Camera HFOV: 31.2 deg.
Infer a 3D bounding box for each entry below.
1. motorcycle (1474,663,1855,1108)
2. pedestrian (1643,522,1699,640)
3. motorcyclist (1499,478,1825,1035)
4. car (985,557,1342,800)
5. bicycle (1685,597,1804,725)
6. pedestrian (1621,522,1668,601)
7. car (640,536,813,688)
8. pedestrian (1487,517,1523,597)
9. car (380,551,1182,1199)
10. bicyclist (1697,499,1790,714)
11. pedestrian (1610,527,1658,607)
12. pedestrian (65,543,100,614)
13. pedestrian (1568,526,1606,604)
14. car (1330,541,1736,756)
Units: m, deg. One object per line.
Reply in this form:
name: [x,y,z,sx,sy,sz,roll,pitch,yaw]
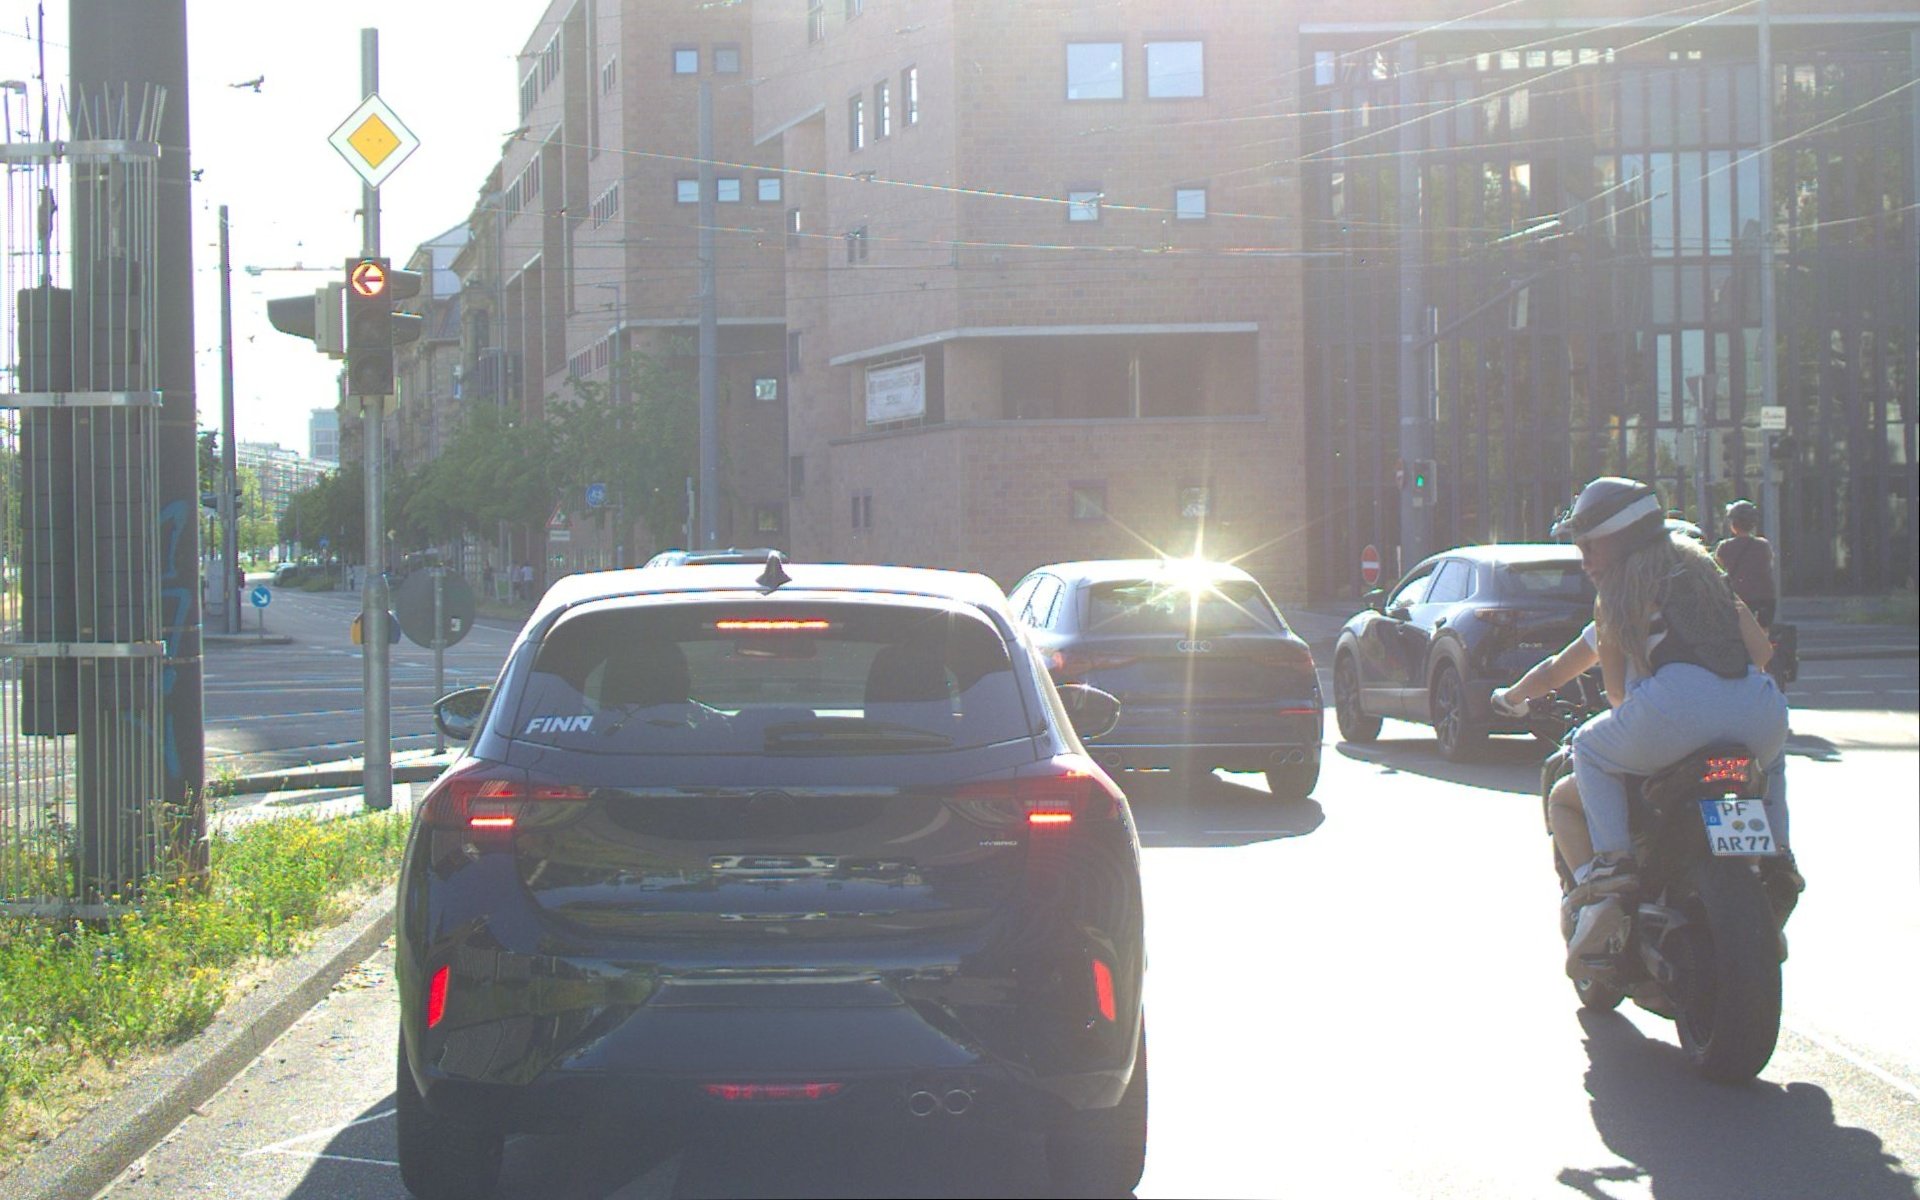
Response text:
motorcycle: [2.034,0.783,10.189,0.775,1.111,1.969,-1,1,2]
pedestrian: [10.686,-0.287,51.673,0.707,1.753,0.560,0,1,25]
motorcyclist: [2.012,0.421,9.966,0.745,1.525,1.021,-1,1,2]
car: [1.175,0.419,21.539,1.737,1.345,4.001,-1,1,-4]
bicycle: [6.631,0.495,29.138,0.491,0.994,2.328,-1,1,1]
pedestrian: [14.060,-0.793,70.648,0.900,1.611,0.560,-1,1,8]
car: [-2.747,0.097,39.716,1.737,1.645,4.001,-1,1,-7]
pedestrian: [9.833,-0.783,62.033,0.529,1.425,0.598,-1,1,-1]
car: [-0.456,0.596,9.137,1.649,1.428,4.001,-1,1,-3]
bicyclist: [6.631,0.049,29.125,0.577,1.785,0.864,-1,1,0]
pedestrian: [13.659,-0.670,69.721,0.900,1.611,0.560,-1,1,8]
pedestrian: [-20.369,-0.511,79.824,0.765,1.634,0.744,-1,1,-14]
pedestrian: [13.059,-0.734,71.596,0.738,1.611,0.560,-1,1,8]
car: [4.138,0.297,25.487,1.807,1.452,4.001,0,1,-8]
